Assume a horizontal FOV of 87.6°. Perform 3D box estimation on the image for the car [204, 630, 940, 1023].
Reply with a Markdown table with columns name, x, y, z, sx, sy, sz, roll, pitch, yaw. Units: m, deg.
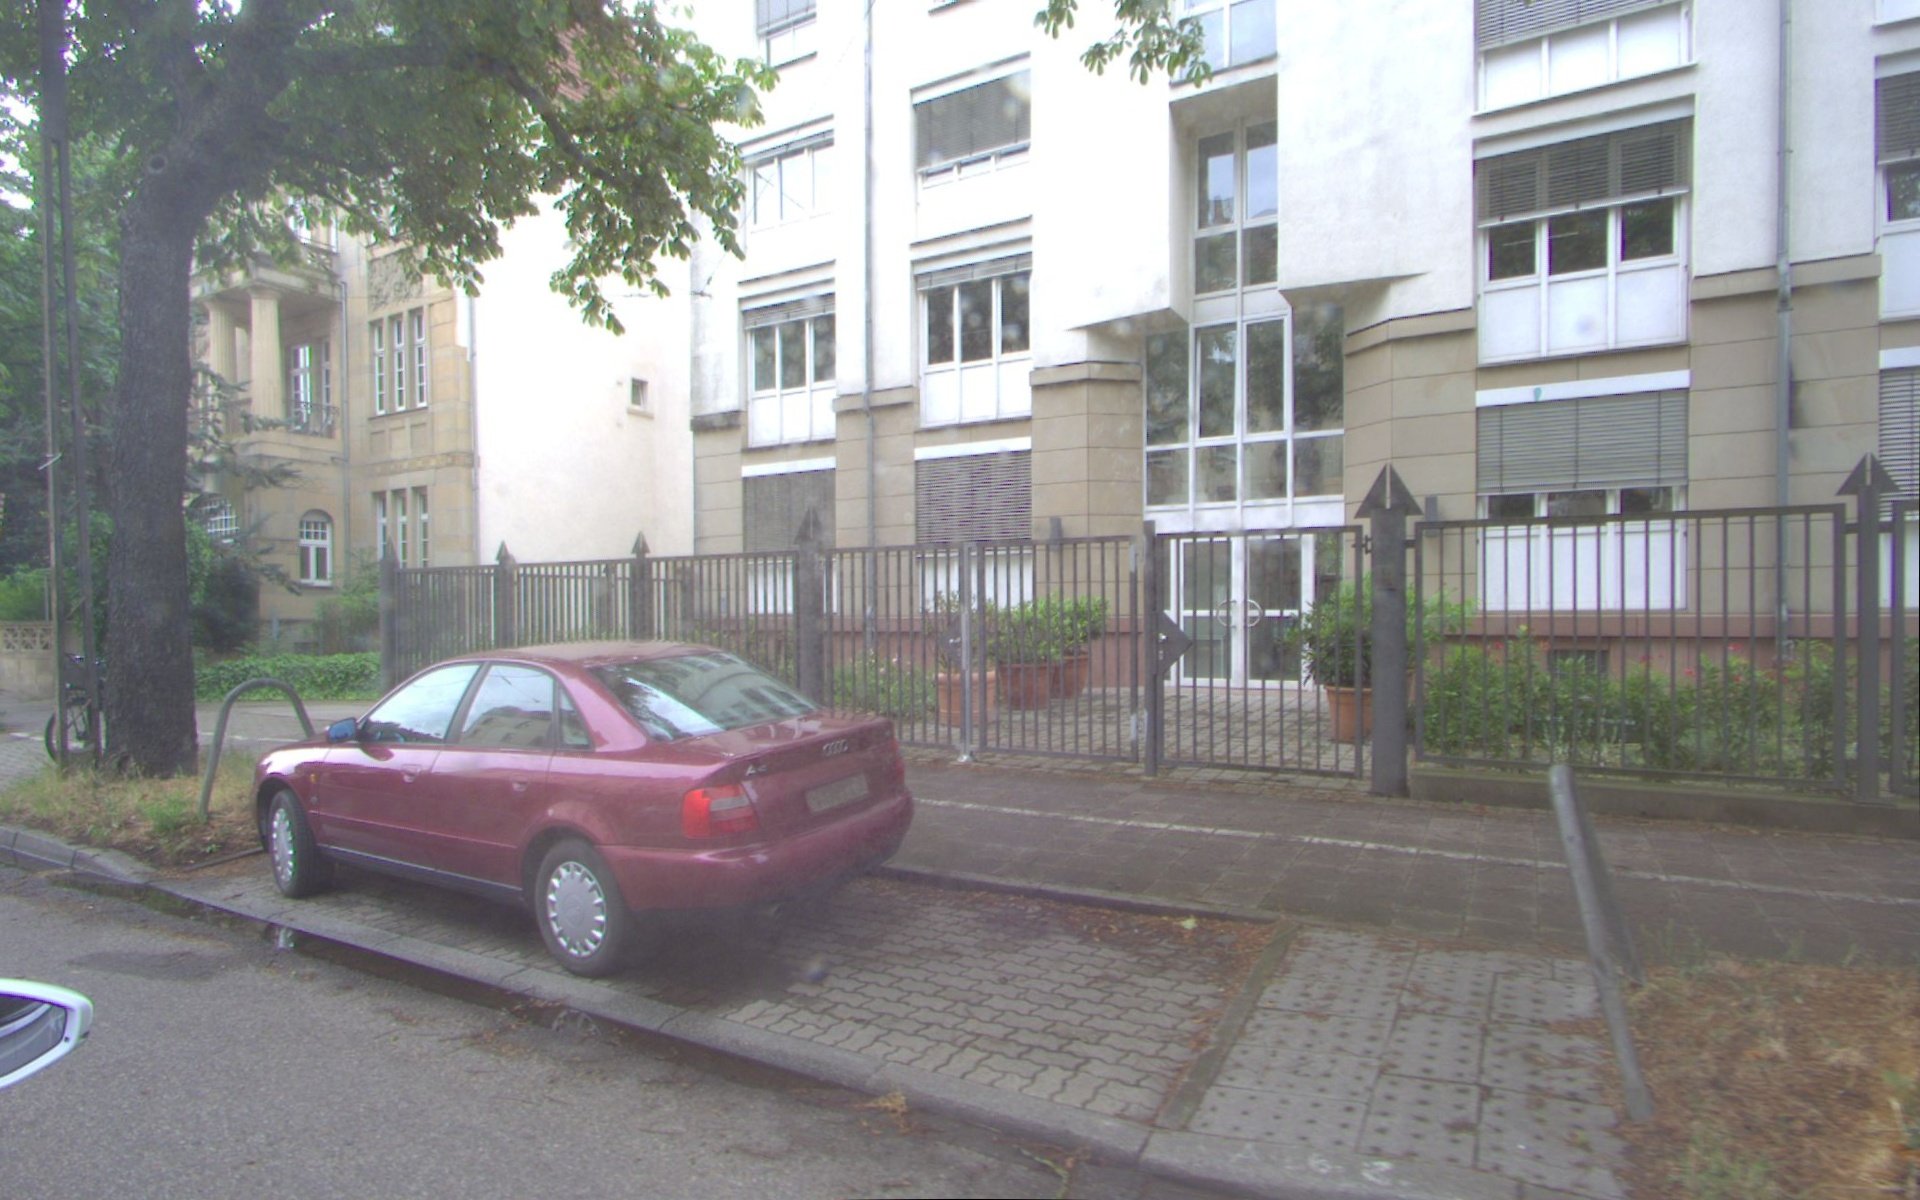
| name | x | y | z | sx | sy | sz | roll | pitch | yaw |
| --- | --- | --- | --- | --- | --- | --- | --- | --- | --- |
| car | -2.306 | 0.930 | 5.622 | 4.164 | 1.418 | 1.599 | 0 | 2 | 31 |

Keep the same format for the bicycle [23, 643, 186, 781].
| name | x | y | z | sx | sy | sz | roll | pitch | yaw |
| --- | --- | --- | --- | --- | --- | --- | --- | --- | --- |
| bicycle | -8.447 | 1.050 | 9.978 | 0.425 | 1.213 | 1.902 | 0 | -2 | -14 |
